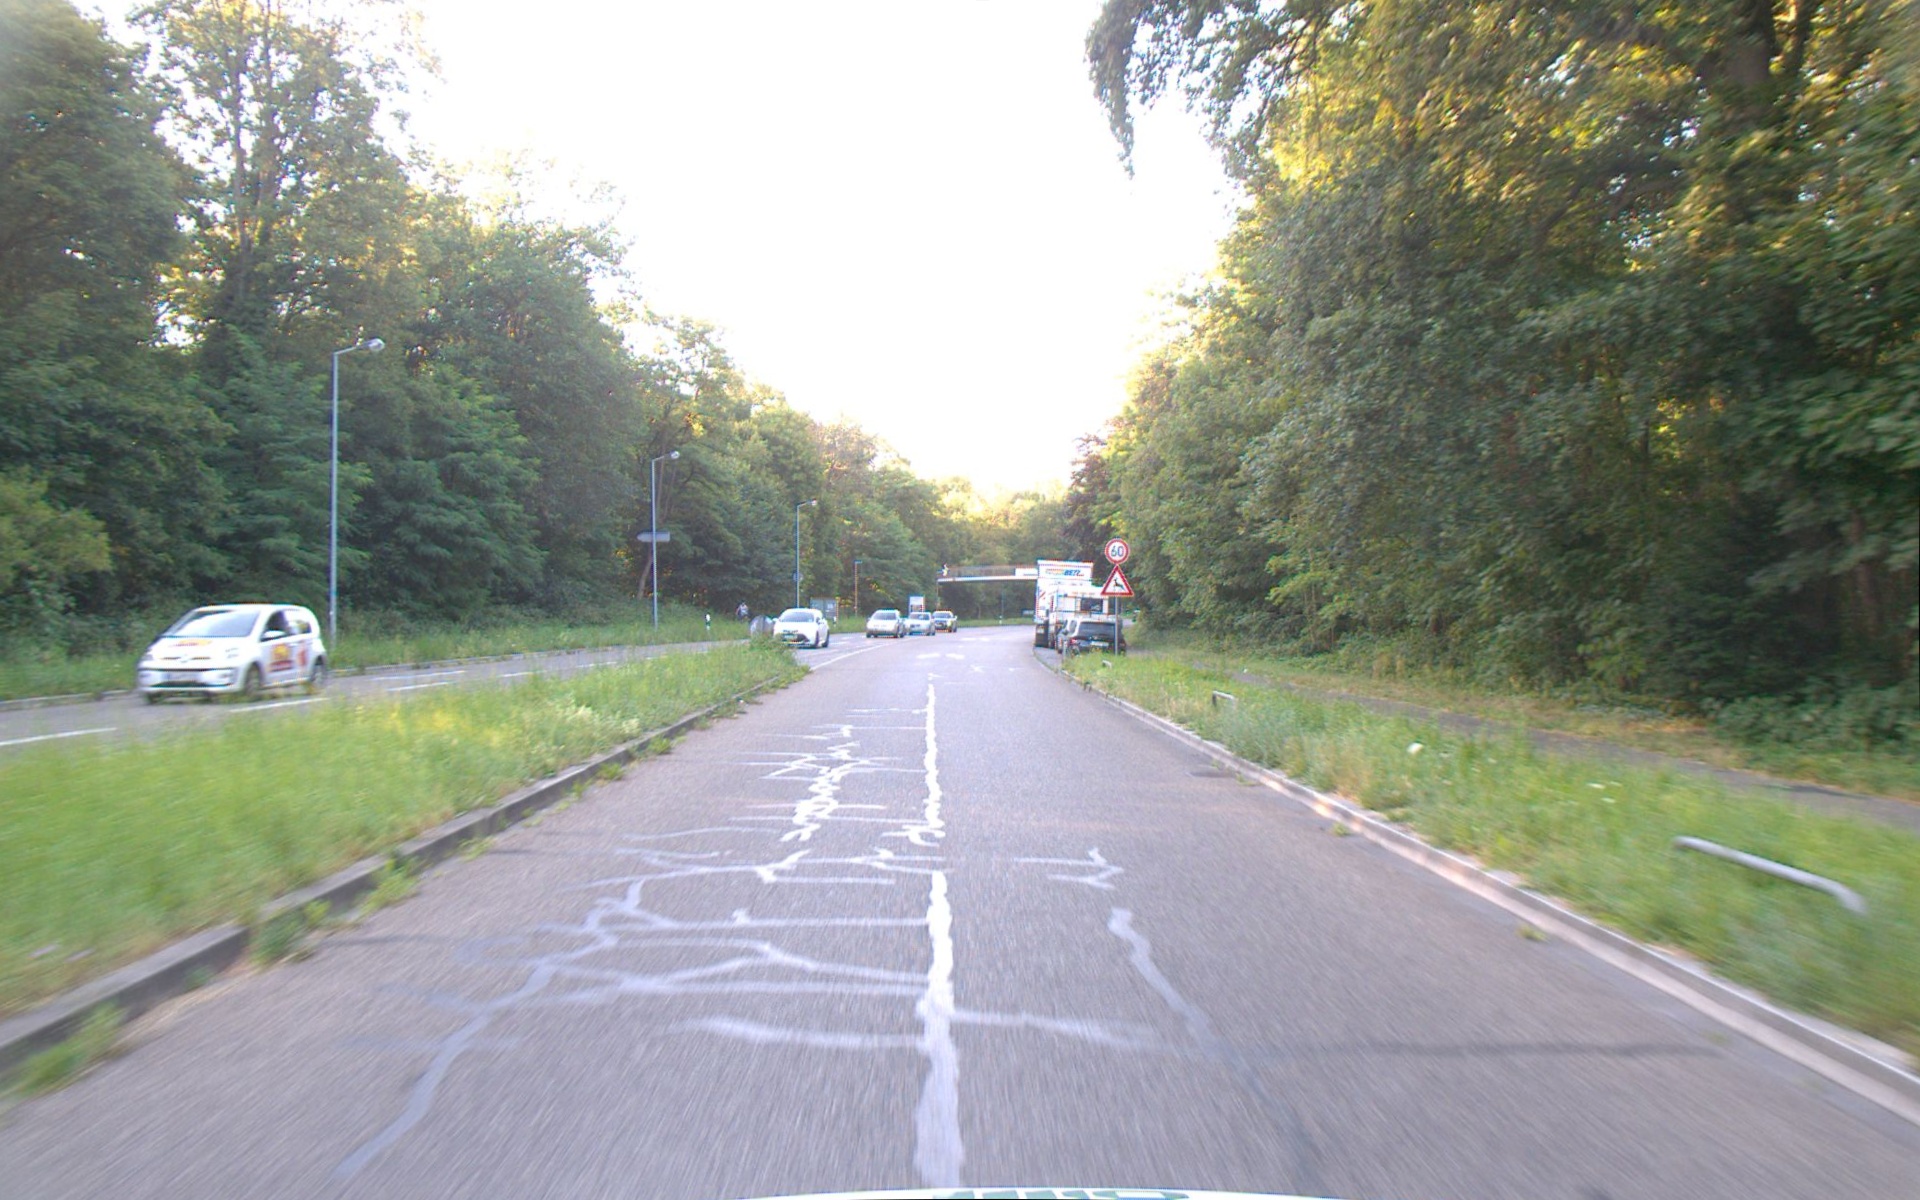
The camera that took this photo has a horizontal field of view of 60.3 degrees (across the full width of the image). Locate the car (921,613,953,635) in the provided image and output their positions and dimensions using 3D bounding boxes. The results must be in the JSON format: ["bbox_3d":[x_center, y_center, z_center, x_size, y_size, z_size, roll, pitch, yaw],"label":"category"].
[{"bbox_3d":[-1.641,1.709,119.813,1.852,1.466,4.772,2,0,4],"label":"car"}]

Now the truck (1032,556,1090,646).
[{"bbox_3d":[4.862,0.075,80.402,2.602,4.098,9.725,1,0,3],"label":"truck"}]

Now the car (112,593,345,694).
[{"bbox_3d":[-11.519,0.709,26.351,1.952,1.484,3.810,0,-2,1],"label":"car"}]

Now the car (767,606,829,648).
[{"bbox_3d":[-6.162,1.060,63.274,1.797,1.534,3.938,0,-2,2],"label":"car"}]

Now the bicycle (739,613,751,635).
[{"bbox_3d":[-12.345,1.347,94.831,0.618,1.239,2.257,0,0,-9],"label":"bicycle"}]

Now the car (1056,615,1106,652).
[{"bbox_3d":[4.773,1.315,65.679,1.663,1.430,4.075,0,-1,0],"label":"car"}]

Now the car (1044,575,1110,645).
[{"bbox_3d":[5.043,0.453,72.371,2.359,2.908,5.931,1,-1,-1],"label":"car"}]

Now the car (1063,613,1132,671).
[{"bbox_3d":[3.755,1.129,45.611,1.629,1.430,3.943,3,-1,2],"label":"car"}]

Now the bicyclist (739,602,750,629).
[{"bbox_3d":[-12.333,0.902,94.746,0.608,1.537,0.845,-1,0,-10],"label":"bicyclist"}]

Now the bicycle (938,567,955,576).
[{"bbox_3d":[-1.570,-3.222,187.848,1.805,0.966,0.551,1,-1,10],"label":"bicycle"}]

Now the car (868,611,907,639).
[{"bbox_3d":[-3.894,1.331,89.572,1.680,1.471,4.175,0,0,3],"label":"car"}]

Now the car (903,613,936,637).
[{"bbox_3d":[-2.493,1.502,102.096,1.684,1.422,4.377,0,0,3],"label":"car"}]

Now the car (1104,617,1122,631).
[{"bbox_3d":[16.195,2.531,175.384,1.852,1.473,4.112,0,0,5],"label":"car"}]
